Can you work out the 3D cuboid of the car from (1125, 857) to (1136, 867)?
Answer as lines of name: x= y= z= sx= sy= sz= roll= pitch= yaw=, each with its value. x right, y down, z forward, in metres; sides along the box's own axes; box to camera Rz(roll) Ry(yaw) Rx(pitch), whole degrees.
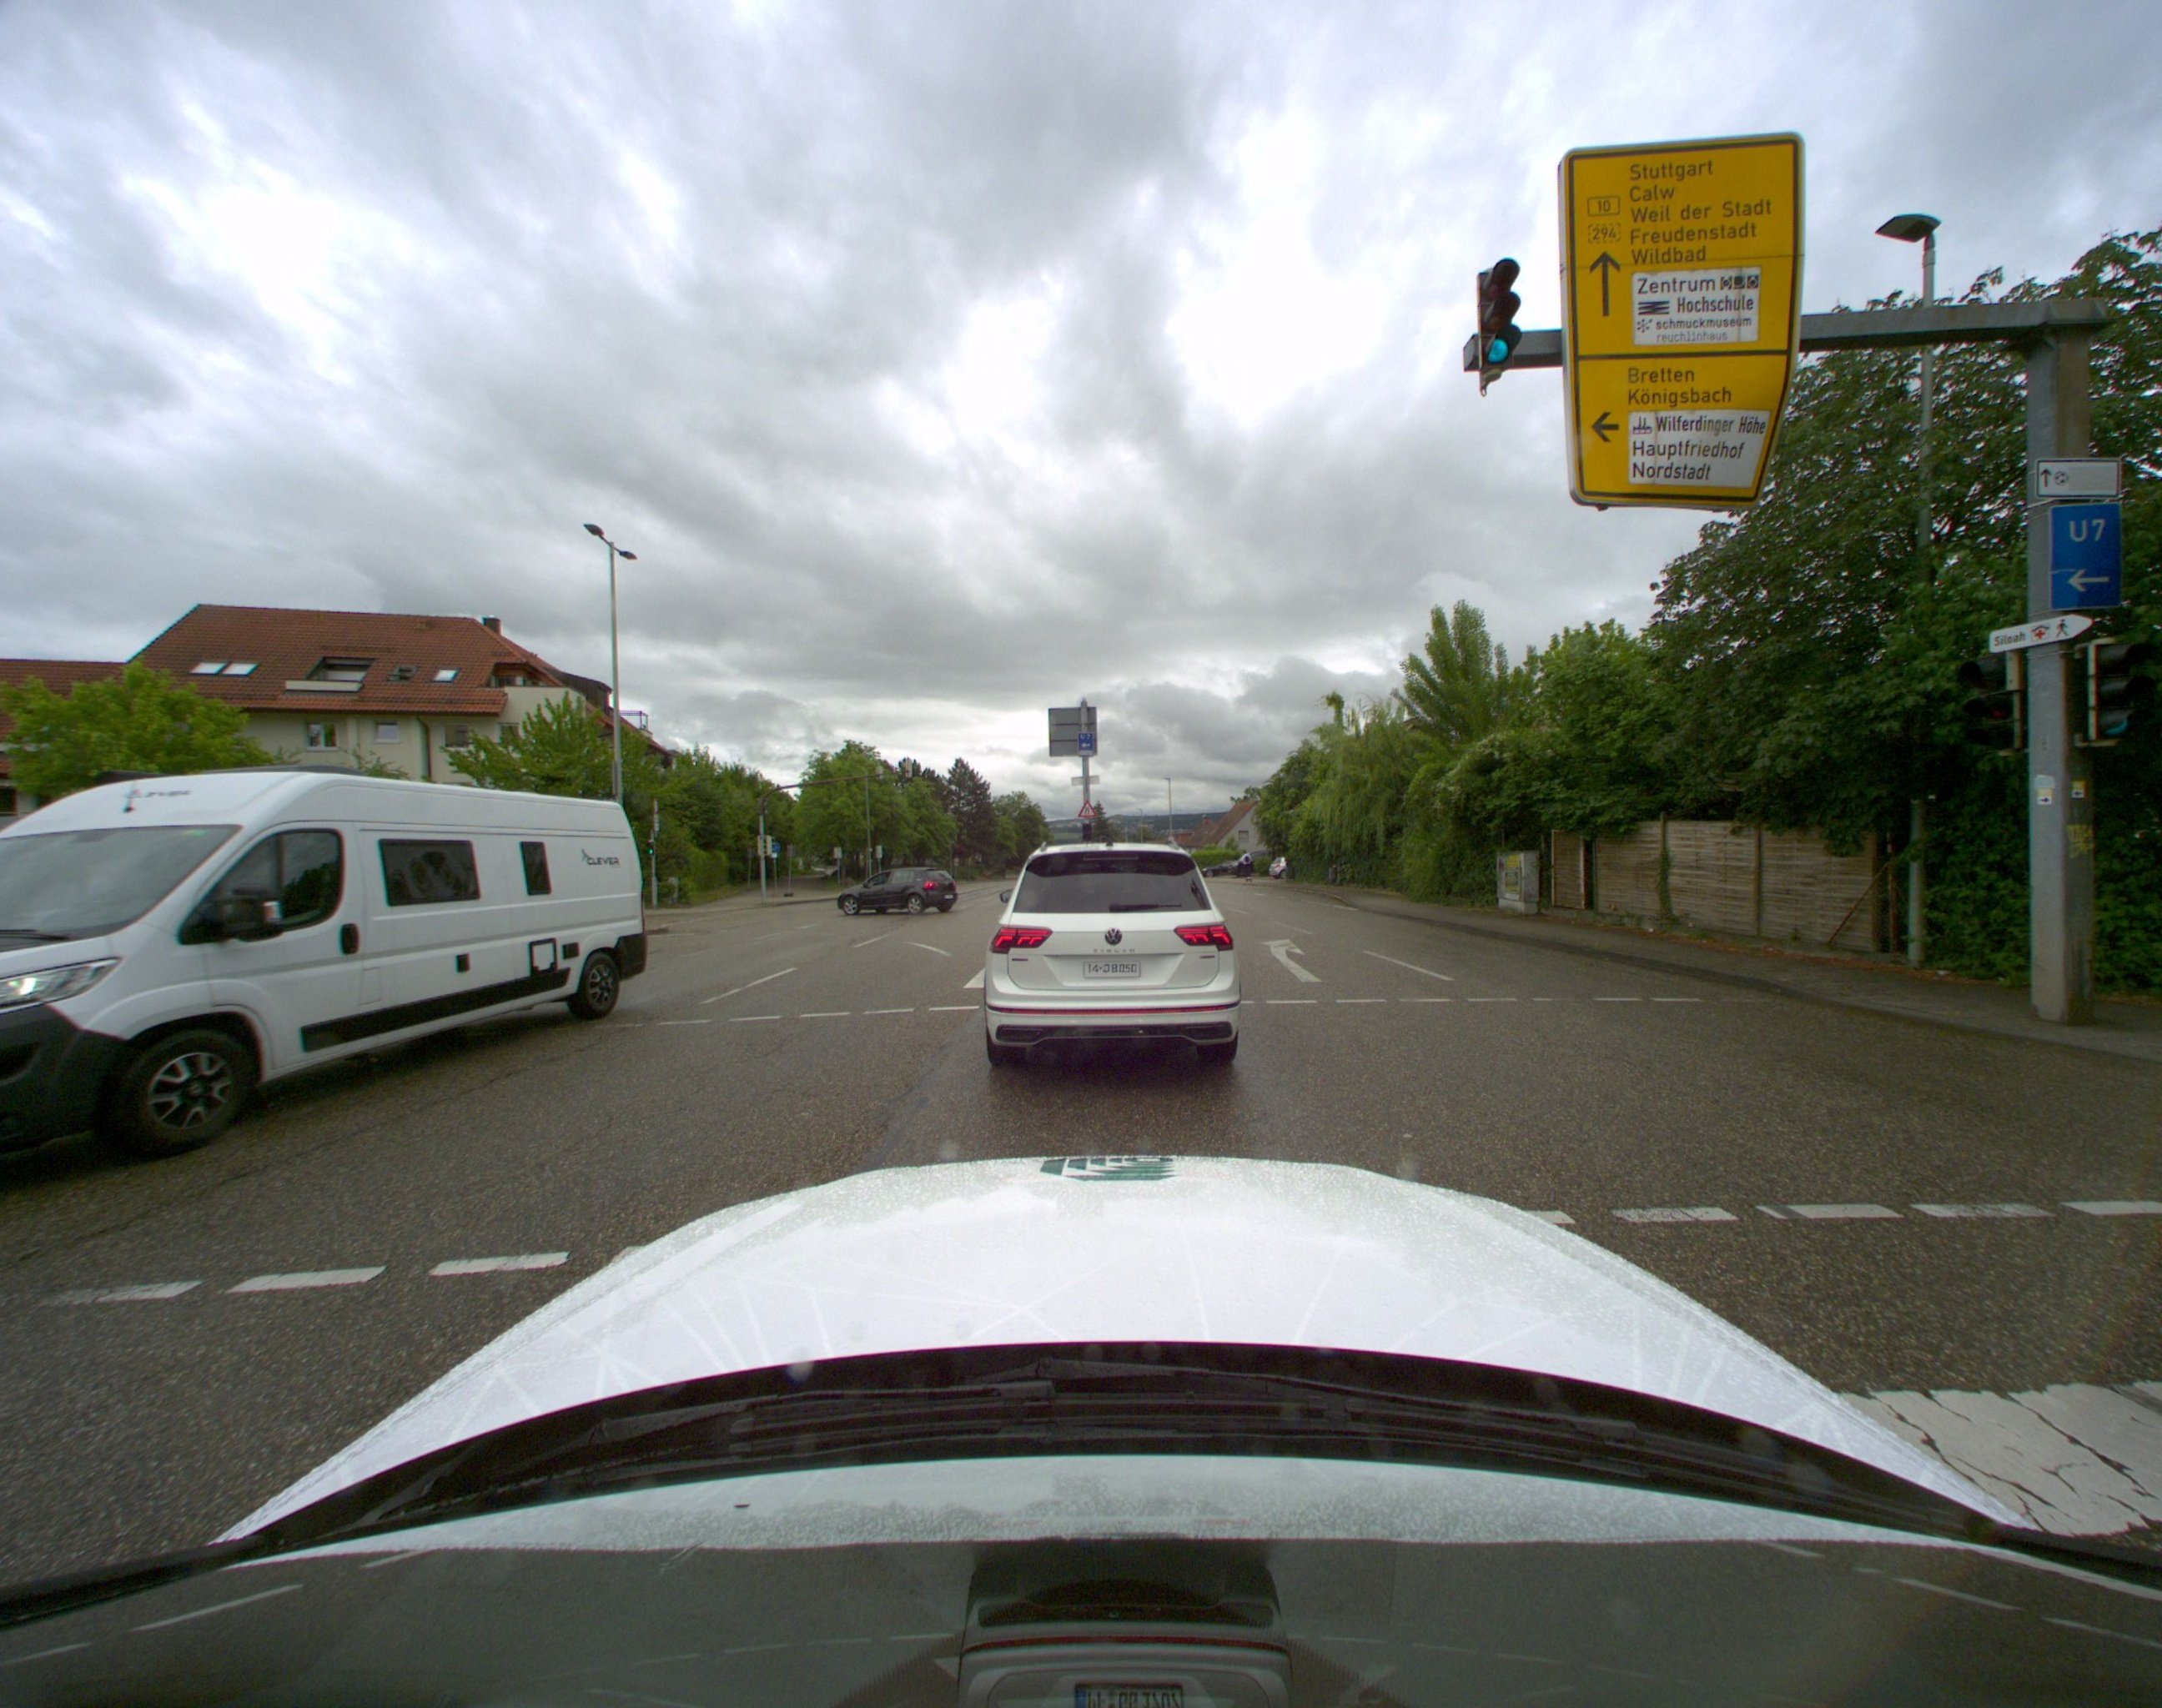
car: x=8.652 y=1.400 z=143.185 sx=1.843 sy=1.574 sz=4.002 roll=-2 pitch=0 yaw=2

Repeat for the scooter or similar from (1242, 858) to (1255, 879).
scooter or similar: x=10.856 y=0.950 z=52.810 sx=0.460 sy=1.361 sz=1.383 roll=-1 pitch=-1 yaw=-2

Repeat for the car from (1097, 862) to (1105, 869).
car: x=4.834 y=2.760 z=199.694 sx=1.843 sy=1.574 sz=4.002 roll=-2 pitch=0 yaw=2

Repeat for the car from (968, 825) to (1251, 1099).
car: x=0.216 y=0.684 z=7.246 sx=1.757 sy=1.696 sz=4.273 roll=1 pitch=0 yaw=1

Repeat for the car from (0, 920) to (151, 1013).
car: x=-19.695 y=2.086 z=14.258 sx=4.414 sy=1.393 sz=1.773 roll=-4 pitch=-1 yaw=-5

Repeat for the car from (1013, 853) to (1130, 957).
car: x=-0.065 y=0.808 z=14.771 sx=1.791 sy=1.589 sz=3.928 roll=-2 pitch=0 yaw=2

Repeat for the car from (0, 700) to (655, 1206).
car: x=-6.388 y=0.571 z=6.961 sx=2.290 sy=2.528 sz=5.773 roll=-3 pitch=0 yaw=0

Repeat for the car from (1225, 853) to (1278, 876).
car: x=12.939 y=0.763 z=61.896 sx=3.618 sy=1.626 sz=1.789 roll=-2 pitch=-1 yaw=-3

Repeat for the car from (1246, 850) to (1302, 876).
car: x=14.076 y=0.632 z=59.422 sx=3.618 sy=1.746 sz=1.706 roll=-2 pitch=0 yaw=-2

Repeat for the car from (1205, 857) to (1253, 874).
car: x=12.089 y=0.957 z=66.624 sx=3.675 sy=1.370 sz=1.518 roll=-1 pitch=-2 yaw=0

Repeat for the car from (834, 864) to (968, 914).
car: x=-5.892 y=1.137 z=26.646 sx=3.951 sy=1.479 sz=1.776 roll=-2 pitch=0 yaw=24

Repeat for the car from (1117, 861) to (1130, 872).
car: x=6.117 y=1.810 z=117.782 sx=1.843 sy=1.574 sz=4.002 roll=-2 pitch=0 yaw=2

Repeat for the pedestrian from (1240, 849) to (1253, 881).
pedestrian: x=10.727 y=0.700 z=52.781 sx=0.654 sy=2.002 sz=0.717 roll=-1 pitch=-1 yaw=-2

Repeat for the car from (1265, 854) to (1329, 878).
car: x=14.288 y=0.818 z=53.979 sx=3.709 sy=1.395 sz=1.725 roll=-2 pitch=-2 yaw=-6

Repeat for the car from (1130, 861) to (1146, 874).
car: x=6.940 y=1.692 z=99.383 sx=1.843 sy=1.574 sz=4.001 roll=0 pitch=-1 yaw=2
